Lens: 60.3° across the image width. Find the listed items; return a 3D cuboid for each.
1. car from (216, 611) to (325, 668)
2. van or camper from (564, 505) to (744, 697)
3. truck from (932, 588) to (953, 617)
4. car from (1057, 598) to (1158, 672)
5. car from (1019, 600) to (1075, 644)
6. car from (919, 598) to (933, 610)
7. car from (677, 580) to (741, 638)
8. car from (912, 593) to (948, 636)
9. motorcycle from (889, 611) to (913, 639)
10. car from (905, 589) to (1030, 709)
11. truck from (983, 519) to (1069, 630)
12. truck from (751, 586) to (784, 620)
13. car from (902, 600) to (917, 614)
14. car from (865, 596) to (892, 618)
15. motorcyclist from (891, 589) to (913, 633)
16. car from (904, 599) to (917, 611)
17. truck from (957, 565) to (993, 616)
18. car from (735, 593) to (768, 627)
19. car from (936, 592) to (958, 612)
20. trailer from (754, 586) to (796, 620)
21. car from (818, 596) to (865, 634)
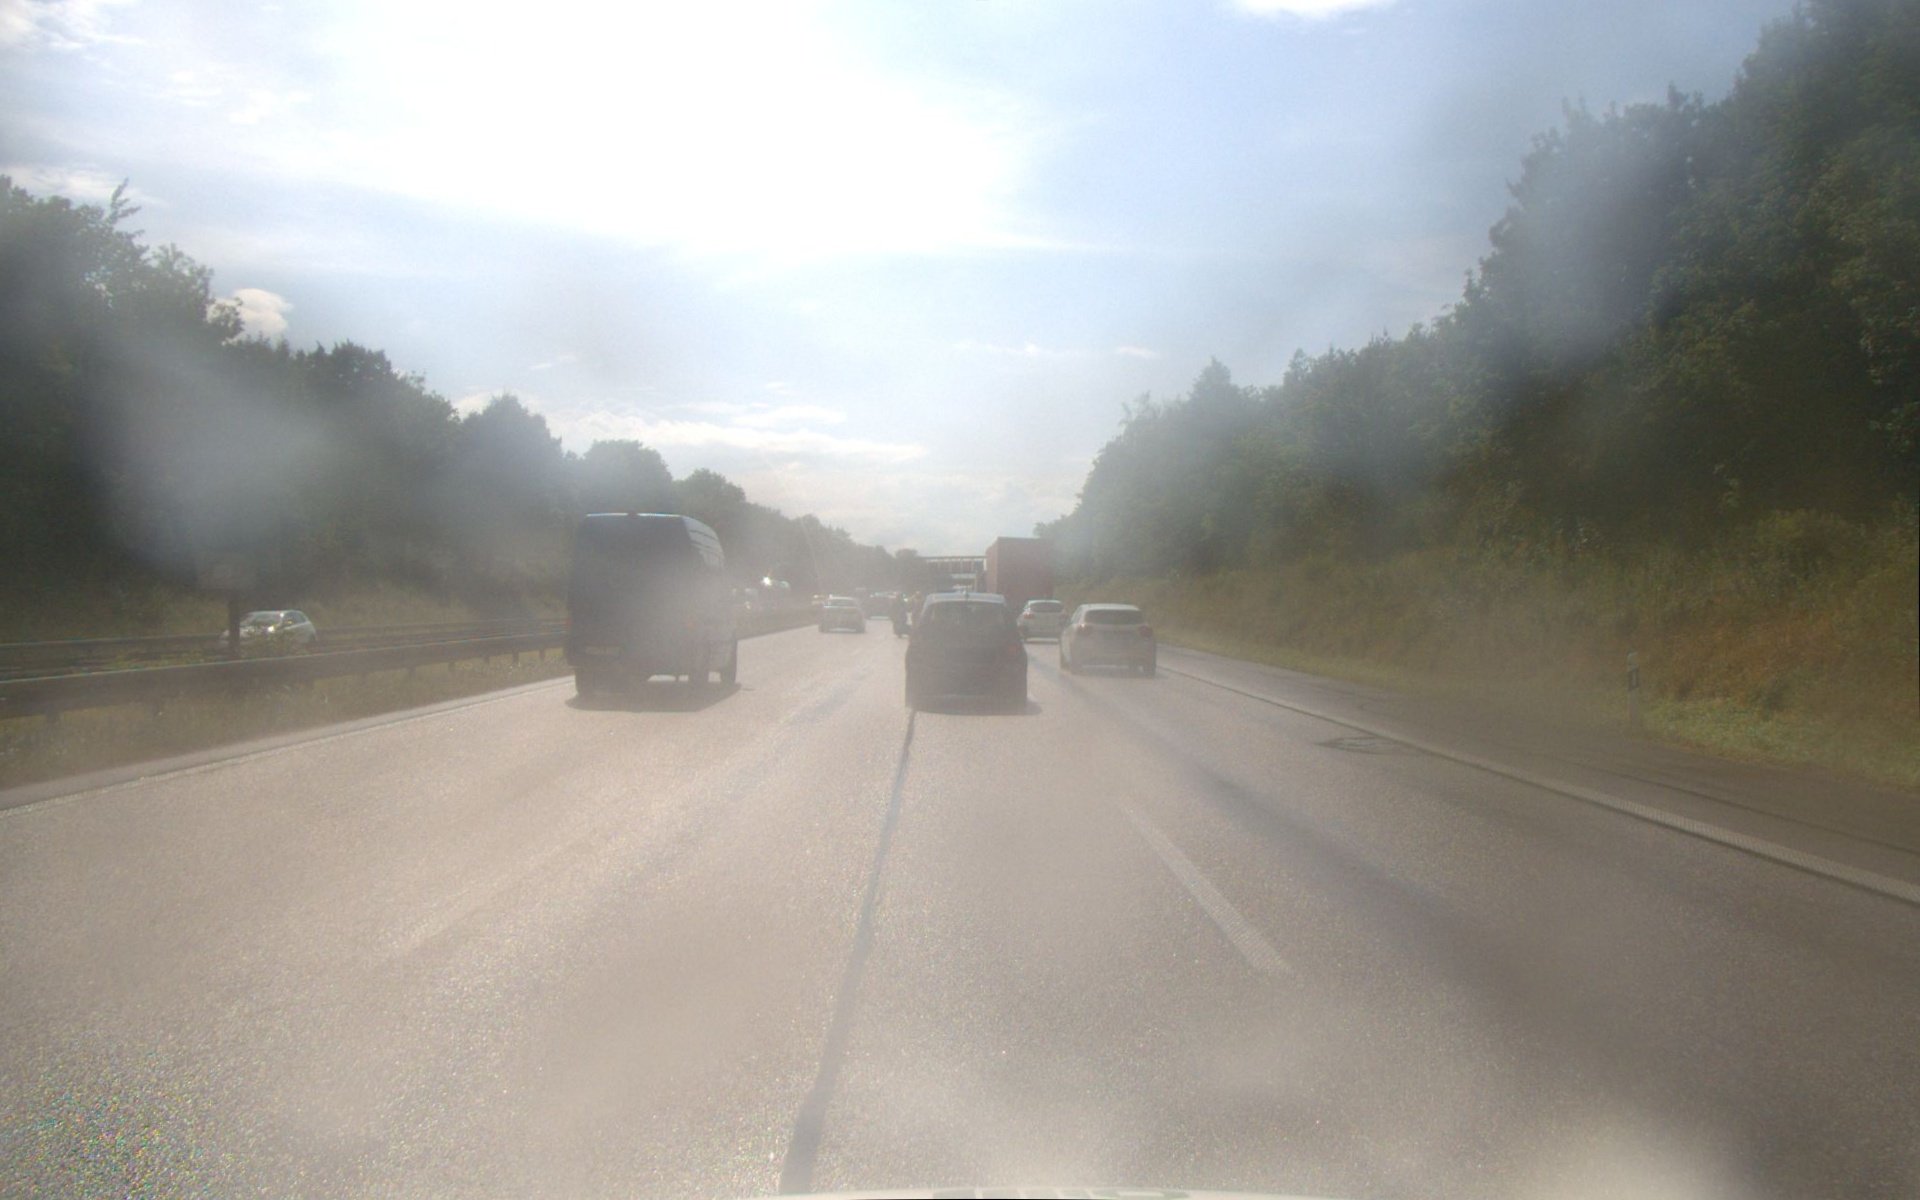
[{"bbox_3d":[-21.486,1.196,51.715,1.696,1.692,4.235,1,0,-1],"label":"car"},{"bbox_3d":[-4.726,0.024,26.331,1.953,2.715,5.383,1,0,-1],"label":"van or camper"},{"bbox_3d":[-1.859,0.251,174.299,2.147,2.926,4.848,1,0,-2],"label":"truck"},{"bbox_3d":[3.094,0.708,35.339,1.658,1.450,4.219,1,0,-1],"label":"car"},{"bbox_3d":[3.023,0.743,58.218,1.646,1.467,3.904,1,0,-1],"label":"car"},{"bbox_3d":[-4.927,0.530,237.109,1.953,1.731,3.999,0,0,-1],"label":"car"},{"bbox_3d":[-11.368,0.403,75.250,2.139,2.495,5.746,1,0,-1],"label":"car"},{"bbox_3d":[-1.289,0.630,71.190,1.500,1.777,3.483,1,0,-1],"label":"car"},{"bbox_3d":[-2.224,0.923,62.880,0.873,1.018,2.895,1,0,-1],"label":"motorcycle"},{"bbox_3d":[0.058,0.675,24.219,1.683,1.595,3.483,1,0,-2],"label":"car"},{"bbox_3d":[3.002,-1.095,80.760,3.575,4.803,16.778,1,0,0],"label":"truck"},{"bbox_3d":[-22.984,0.345,197.612,2.929,3.898,6.864,1,0,0],"label":"truck"},{"bbox_3d":[-5.161,0.724,169.768,1.455,1.414,3.197,1,0,-2],"label":"car"},{"bbox_3d":[-5.571,0.463,113.038,1.716,1.482,3.388,1,0,-2],"label":"car"},{"bbox_3d":[-2.200,0.413,62.840,0.785,1.662,1.013,1,0,-2],"label":"motorcyclist"},{"bbox_3d":[-5.766,0.579,192.259,1.518,1.289,3.483,1,0,-2],"label":"car"},{"bbox_3d":[1.365,-0.814,156.804,3.189,4.558,12.420,1,0,0],"label":"truck"},{"bbox_3d":[-18.591,0.903,147.860,2.217,2.920,6.929,1,0,-1],"label":"car"},{"bbox_3d":[-0.937,0.136,120.592,1.521,1.407,3.209,1,0,-2],"label":"car"},{"bbox_3d":[-22.886,0.381,205.937,2.929,3.898,17.952,1,0,1],"label":"trailer"},{"bbox_3d":[-5.038,0.638,70.563,1.817,1.578,3.483,1,0,-2],"label":"car"}]
